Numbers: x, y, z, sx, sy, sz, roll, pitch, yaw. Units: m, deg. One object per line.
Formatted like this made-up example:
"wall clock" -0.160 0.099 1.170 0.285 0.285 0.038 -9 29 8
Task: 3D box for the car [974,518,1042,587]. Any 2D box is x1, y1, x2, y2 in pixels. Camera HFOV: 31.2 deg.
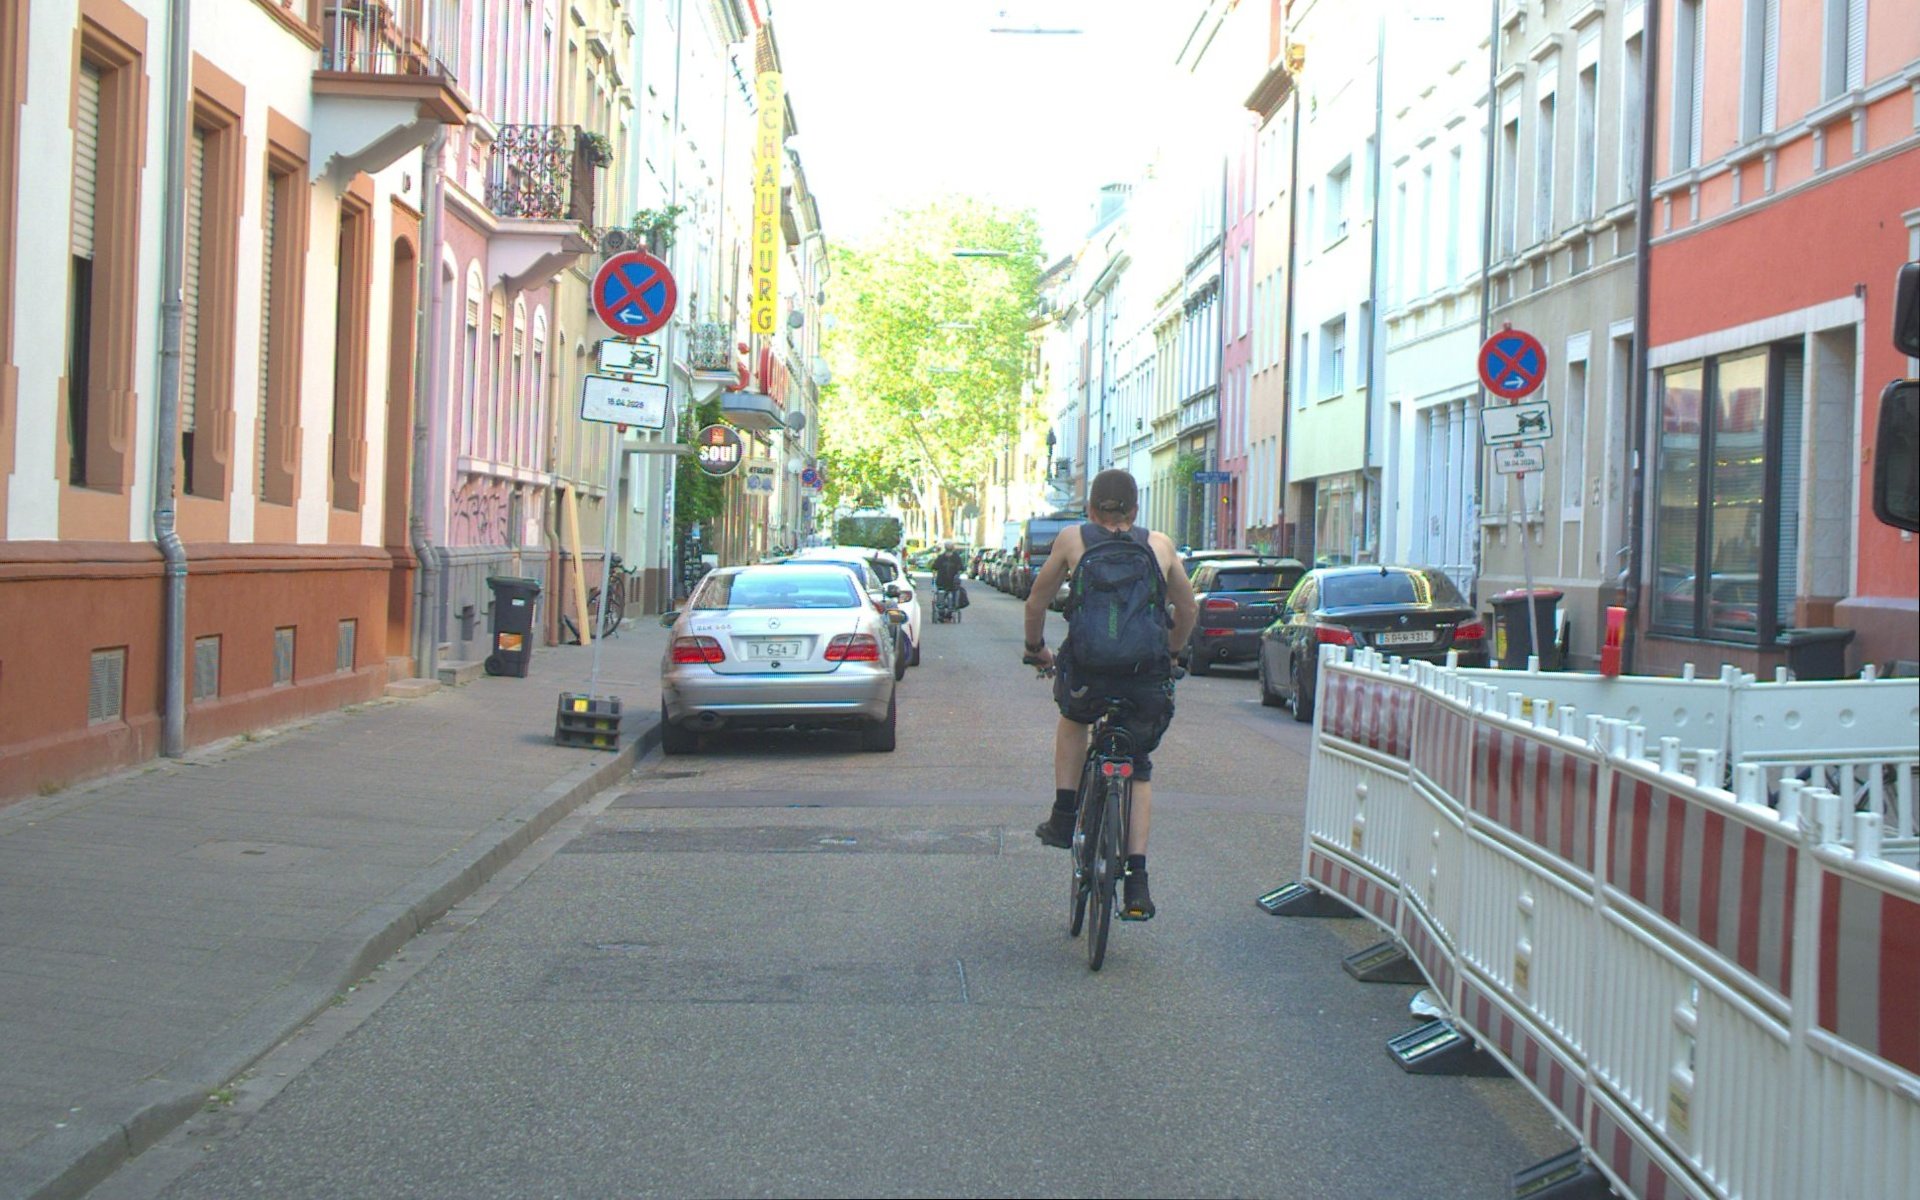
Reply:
"car" 1.756 -1.756 128.027 2.307 2.529 6.770 0 1 -1

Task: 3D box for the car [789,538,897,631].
"car" -1.852 -0.254 55.100 1.672 1.437 3.754 0 1 -1

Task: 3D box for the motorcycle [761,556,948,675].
"motorcycle" -1.251 0.175 40.908 2.146 1.354 0.540 -1 2 -19

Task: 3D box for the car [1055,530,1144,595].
"car" 3.036 -0.827 75.577 1.710 1.389 4.000 0 1 -1

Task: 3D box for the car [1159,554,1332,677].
"car" 3.632 0.170 44.331 1.816 1.516 4.000 0 1 -1

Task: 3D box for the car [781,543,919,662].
"car" -1.369 0.011 43.694 1.672 1.437 4.165 0 1 -1

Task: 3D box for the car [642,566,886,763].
"car" -1.431 0.432 26.503 1.710 1.378 4.506 0 1 -1

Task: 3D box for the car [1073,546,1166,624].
"car" 3.232 -0.317 70.118 1.620 1.545 4.000 0 1 -1

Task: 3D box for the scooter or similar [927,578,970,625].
"scooter or similar" -0.228 0.033 67.048 0.770 0.870 0.771 3 0 -2

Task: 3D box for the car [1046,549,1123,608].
"car" 3.118 -0.545 86.860 1.710 1.442 4.000 0 1 -1

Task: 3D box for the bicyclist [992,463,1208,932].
"bicyclist" 0.493 0.335 12.563 0.702 1.627 1.090 1 0 -1

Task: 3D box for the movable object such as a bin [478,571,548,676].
"movable object such as a bin" -4.175 0.217 32.129 0.543 0.941 0.487 3 0 0

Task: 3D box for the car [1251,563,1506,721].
"car" 4.003 0.358 33.635 1.816 1.433 4.791 0 1 -1

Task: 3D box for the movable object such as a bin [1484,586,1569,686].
"movable object such as a bin" 6.168 0.387 37.441 0.736 1.071 0.677 -1 1 -7

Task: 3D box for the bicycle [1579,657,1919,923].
"bicycle" 3.845 0.869 15.677 1.849 1.106 0.644 3 0 -8

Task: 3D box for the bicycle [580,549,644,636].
"bicycle" -4.572 -0.106 45.276 0.592 1.085 2.079 3 0 -1

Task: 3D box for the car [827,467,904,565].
"car" -2.530 -2.221 91.156 1.909 2.488 4.166 1 1 -3

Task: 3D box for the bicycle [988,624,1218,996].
"bicycle" 0.491 0.715 12.753 0.702 1.204 2.342 1 1 -1

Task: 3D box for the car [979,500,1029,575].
"car" 2.210 -3.146 175.408 2.307 3.755 6.770 0 1 -1

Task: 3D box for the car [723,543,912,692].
"car" -1.470 0.142 36.840 1.710 1.378 4.356 2 2 1

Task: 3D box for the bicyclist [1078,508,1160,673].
"bicyclist" 1.593 -0.103 34.593 0.702 1.599 0.813 2 2 -1

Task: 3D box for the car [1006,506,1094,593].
"car" 2.646 -1.491 102.533 2.307 2.529 6.770 0 1 -1

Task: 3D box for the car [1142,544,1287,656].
"car" 3.630 -0.020 49.599 1.710 1.551 4.000 0 1 -1

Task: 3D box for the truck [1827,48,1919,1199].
"truck" 3.647 0.153 5.037 2.661 2.804 7.393 3 0 -1

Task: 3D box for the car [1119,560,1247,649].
"car" 3.530 0.048 55.061 1.710 1.378 4.000 0 1 -1

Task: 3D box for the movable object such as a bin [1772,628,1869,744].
"movable object such as a bin" 6.839 0.677 27.338 0.597 0.903 0.579 -1 0 -2

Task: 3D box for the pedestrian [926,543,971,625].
"pedestrian" -0.232 -0.315 67.510 0.770 1.573 0.900 3 0 -2

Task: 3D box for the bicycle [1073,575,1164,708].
"bicycle" 1.585 0.394 34.674 0.702 1.203 2.342 2 2 -1

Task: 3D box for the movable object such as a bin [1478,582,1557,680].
"movable object such as a bin" 6.248 0.345 38.568 0.807 1.071 0.677 -1 1 4

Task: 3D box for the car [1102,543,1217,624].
"car" 3.472 -0.304 60.512 1.710 1.378 4.000 0 1 -1

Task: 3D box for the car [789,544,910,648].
"car" -1.572 -0.076 49.546 1.672 1.437 3.768 0 1 -1
